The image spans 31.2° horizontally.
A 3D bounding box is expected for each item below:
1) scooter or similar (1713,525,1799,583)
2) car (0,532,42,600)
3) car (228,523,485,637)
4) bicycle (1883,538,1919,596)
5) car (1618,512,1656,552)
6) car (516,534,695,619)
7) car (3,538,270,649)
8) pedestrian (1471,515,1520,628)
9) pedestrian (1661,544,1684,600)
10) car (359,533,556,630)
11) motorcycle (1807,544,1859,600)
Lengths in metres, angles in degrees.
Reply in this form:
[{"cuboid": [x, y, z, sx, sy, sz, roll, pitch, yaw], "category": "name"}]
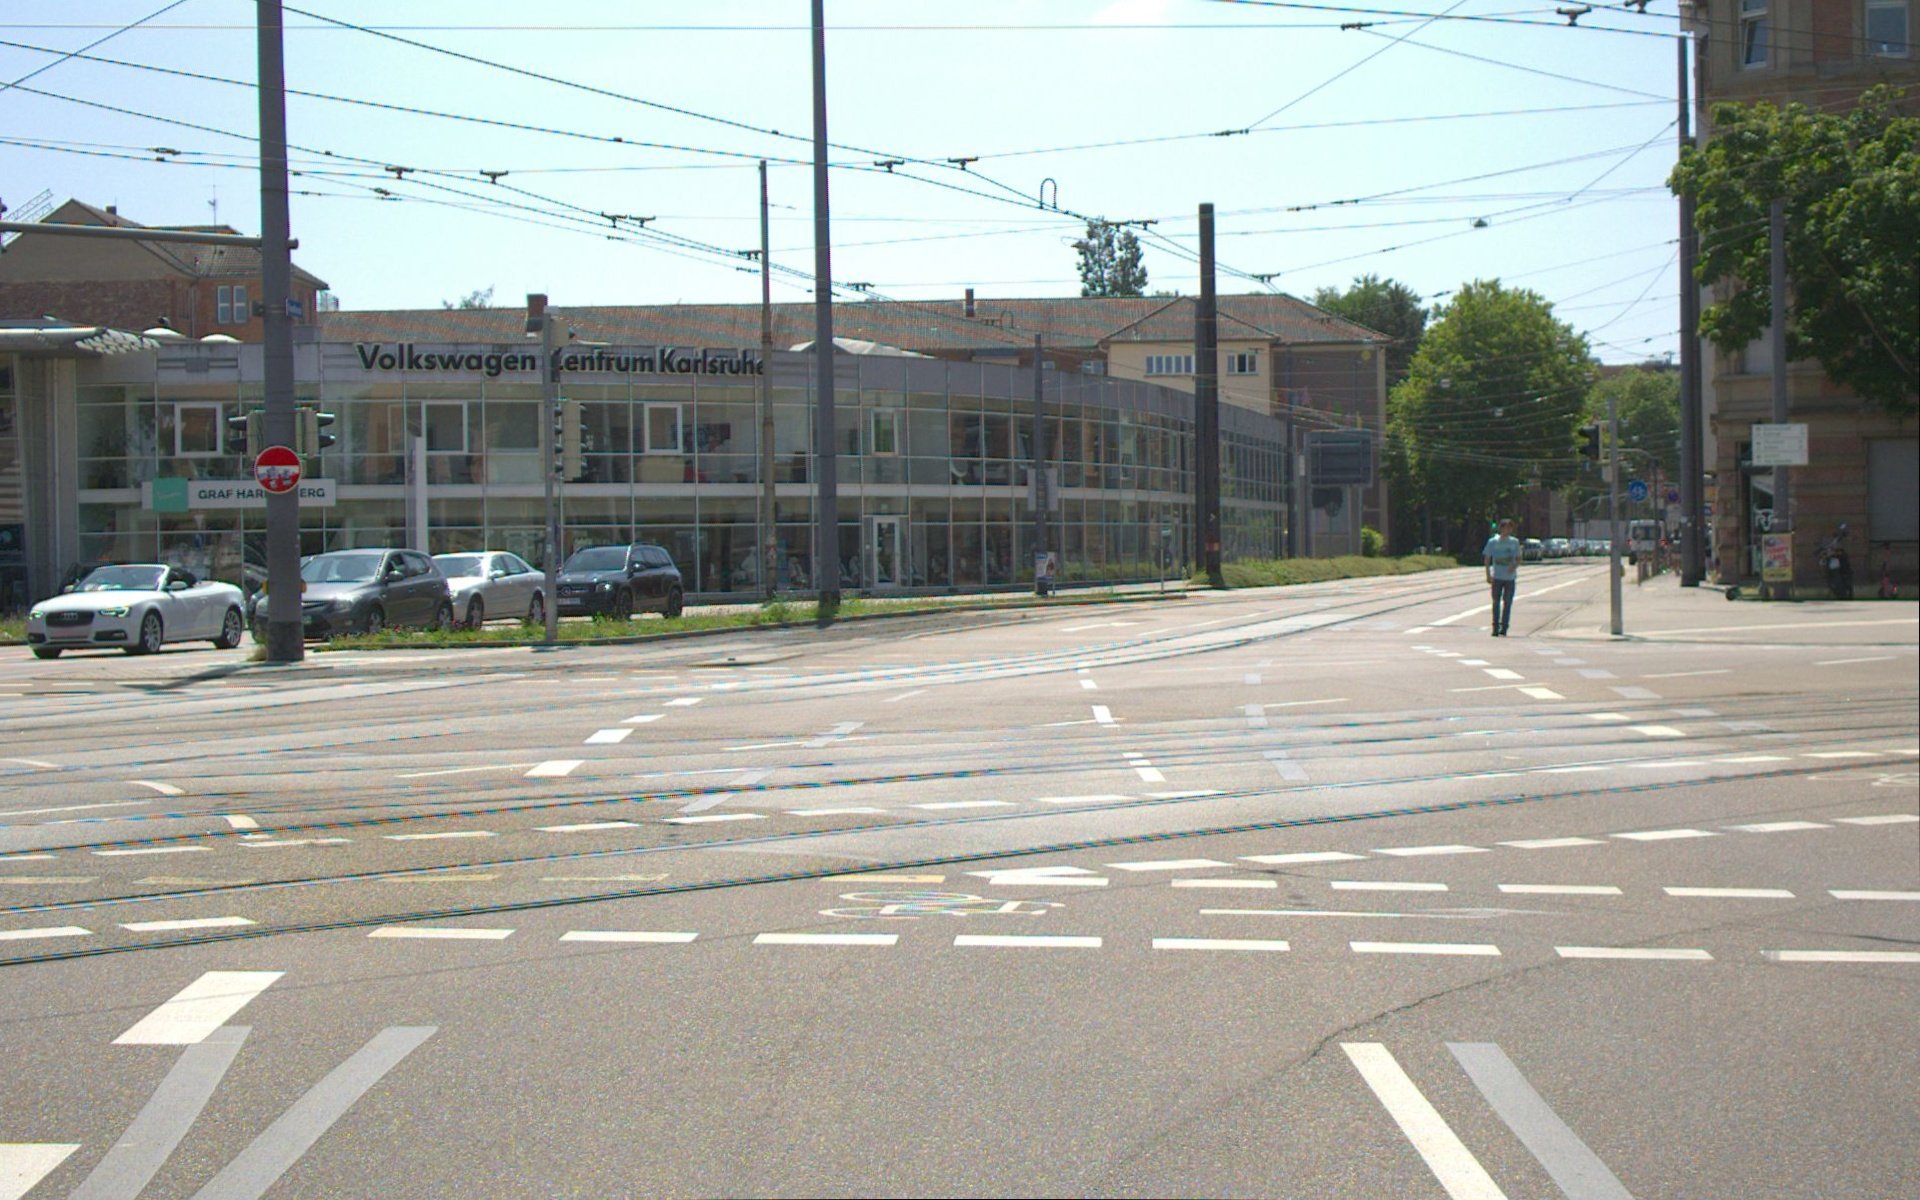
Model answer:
[{"cuboid": [16.342, -0.945, 70.561, 1.786, 1.177, 0.599, -1, 1, -31], "category": "scooter or similar"}, {"cuboid": [-24.809, -0.861, 87.460, 1.920, 1.701, 4.000, 1, 0, -2], "category": "car"}, {"cuboid": [-9.113, -0.336, 52.326, 1.995, 1.632, 4.843, 0, 1, 15], "category": "car"}, {"cuboid": [18.651, -0.662, 67.769, 0.551, 1.116, 1.820, -1, 1, 4], "category": "bicycle"}, {"cuboid": [38.561, -3.874, 195.820, 1.995, 2.174, 4.367, 1, 0, 12], "category": "car"}, {"cuboid": [-7.267, -0.516, 71.030, 2.080, 1.677, 4.843, 0, 1, 15], "category": "car"}, {"cuboid": [-12.348, -0.132, 51.906, 2.077, 1.575, 4.844, -1, 1, 11], "category": "car"}, {"cuboid": [8.134, -0.435, 52.231, 0.461, 1.702, 0.640, -1, 1, -22], "category": "pedestrian"}, {"cuboid": [25.865, -1.014, 124.828, 0.768, 2.007, 0.663, 1, 0, 10], "category": "pedestrian"}, {"cuboid": [-9.309, -0.370, 64.099, 1.995, 1.733, 4.540, 0, 1, 15], "category": "car"}, {"cuboid": [17.242, -0.557, 67.925, 0.580, 1.071, 1.946, -1, 1, 1], "category": "motorcycle"}]
